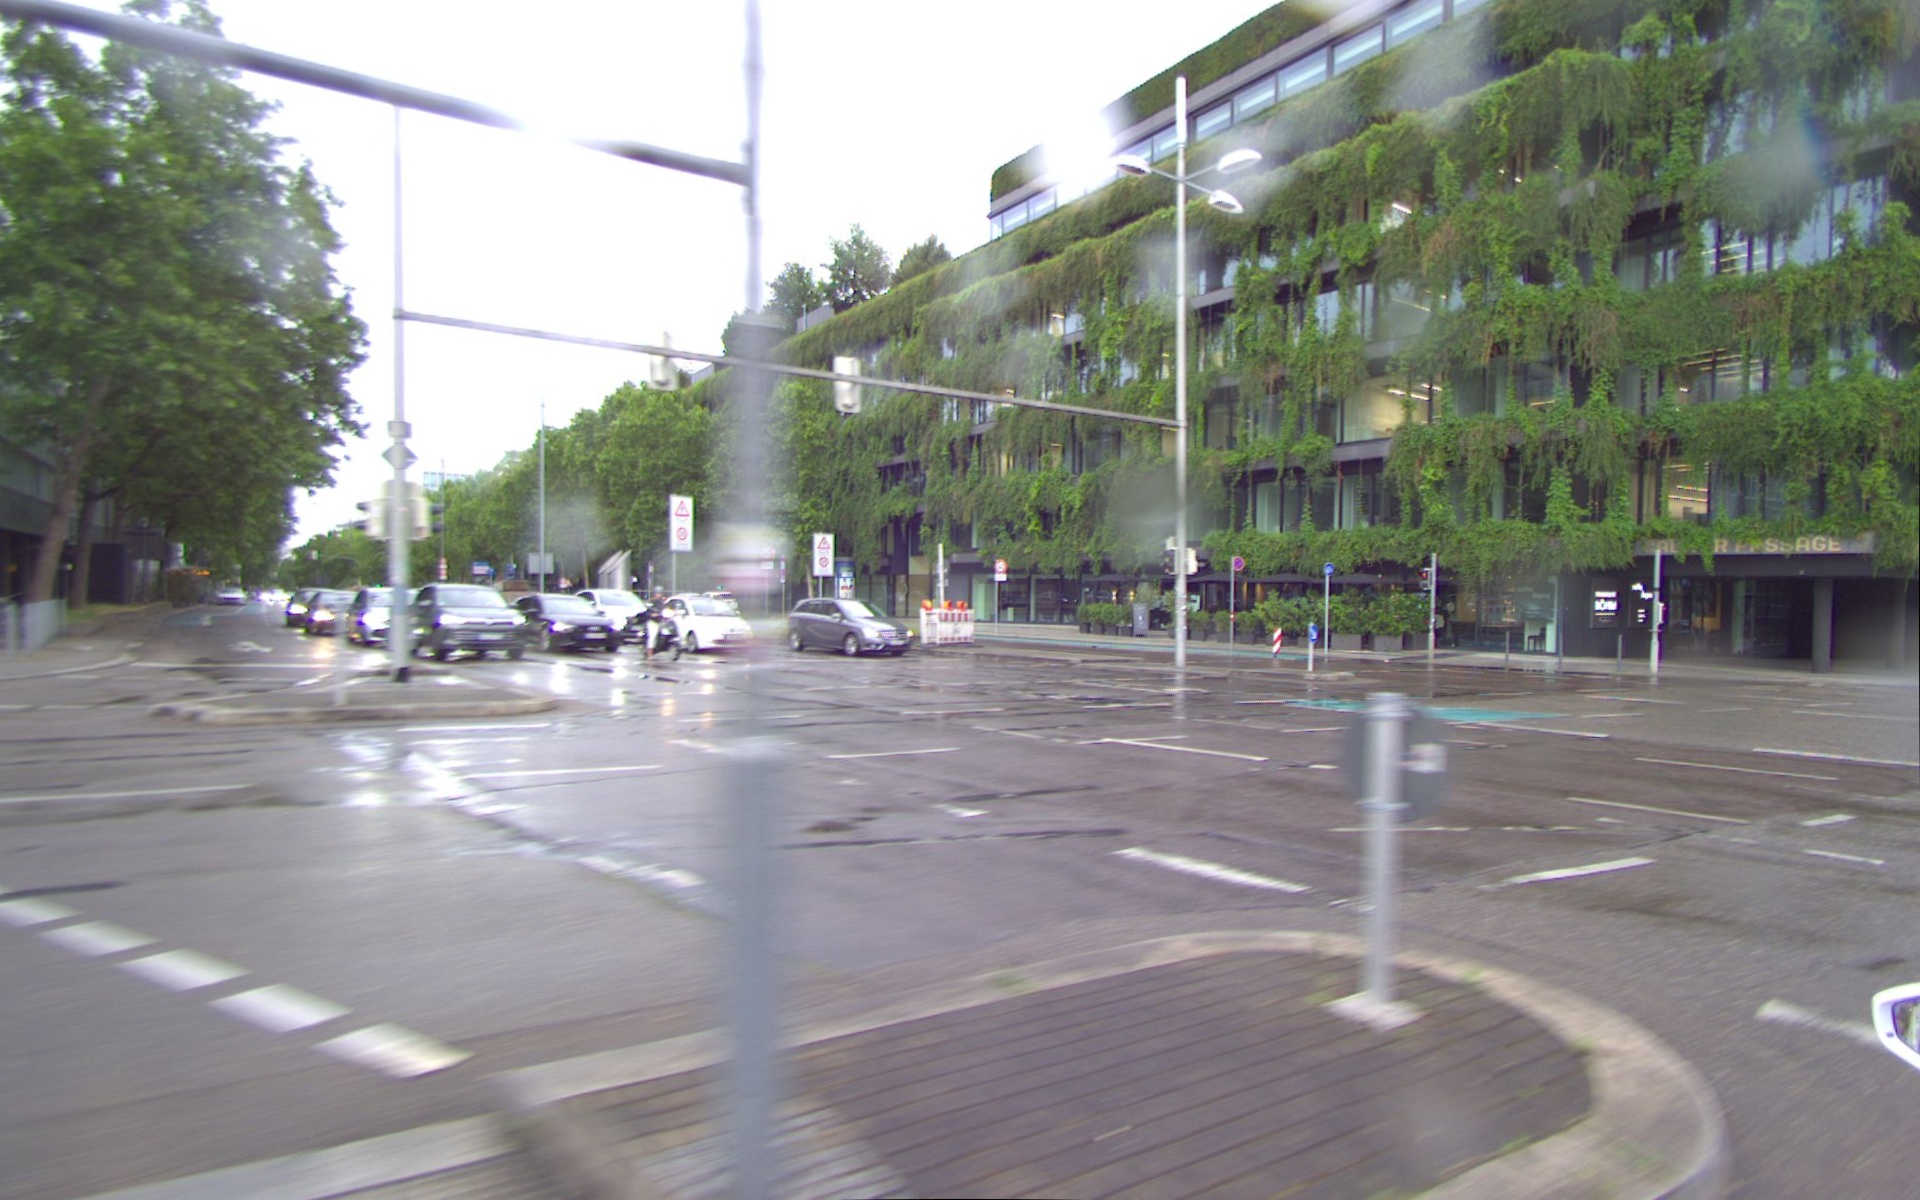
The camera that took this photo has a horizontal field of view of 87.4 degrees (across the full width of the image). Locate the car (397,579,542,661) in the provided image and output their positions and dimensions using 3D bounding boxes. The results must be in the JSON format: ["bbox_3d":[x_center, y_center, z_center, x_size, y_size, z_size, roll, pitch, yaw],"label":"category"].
[{"bbox_3d":[-11.423,0.410,23.226,1.984,1.709,4.315,1,0,-41],"label":"car"}]

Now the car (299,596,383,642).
[{"bbox_3d":[-20.815,0.616,33.711,1.982,1.389,4.131,1,0,-37],"label":"car"}]

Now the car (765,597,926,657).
[{"bbox_3d":[-3.314,0.716,28.435,4.842,1.508,1.922,1,0,45],"label":"car"}]

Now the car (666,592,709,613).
[{"bbox_3d":[-20.680,0.156,76.163,1.785,1.442,3.958,2,0,-36],"label":"car"}]

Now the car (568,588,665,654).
[{"bbox_3d":[-10.931,0.621,31.815,1.978,1.923,4.139,1,0,-32],"label":"car"}]

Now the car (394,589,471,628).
[{"bbox_3d":[-20.568,0.312,39.108,1.982,1.389,4.131,1,0,-37],"label":"car"}]

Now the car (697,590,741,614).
[{"bbox_3d":[-17.147,0.125,71.321,1.783,1.588,3.962,2,0,-34],"label":"car"}]

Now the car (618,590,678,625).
[{"bbox_3d":[-16.469,0.377,52.902,1.834,1.692,3.958,2,0,-36],"label":"car"}]

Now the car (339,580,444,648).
[{"bbox_3d":[-15.949,0.359,28.104,1.982,1.773,3.956,1,0,-38],"label":"car"}]

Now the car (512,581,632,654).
[{"bbox_3d":[-10.315,0.425,26.577,1.981,1.773,3.958,1,0,-36],"label":"car"}]

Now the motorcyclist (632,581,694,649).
[{"bbox_3d":[-6.814,0.332,23.029,1.154,1.492,0.832,2,0,40],"label":"motorcyclist"}]

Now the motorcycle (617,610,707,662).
[{"bbox_3d":[-6.873,0.800,23.069,2.331,1.068,0.830,2,0,41],"label":"motorcycle"}]

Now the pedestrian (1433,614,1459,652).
[{"bbox_3d":[17.391,1.184,35.929,0.593,1.328,0.609,1,0,-35],"label":"pedestrian"}]

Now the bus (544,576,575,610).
[{"bbox_3d":[-41.680,-0.764,104.394,1.783,3.385,5.922,2,0,-33],"label":"bus"}]

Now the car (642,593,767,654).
[{"bbox_3d":[-7.062,0.603,27.503,1.981,1.495,3.958,1,0,-36],"label":"car"}]
